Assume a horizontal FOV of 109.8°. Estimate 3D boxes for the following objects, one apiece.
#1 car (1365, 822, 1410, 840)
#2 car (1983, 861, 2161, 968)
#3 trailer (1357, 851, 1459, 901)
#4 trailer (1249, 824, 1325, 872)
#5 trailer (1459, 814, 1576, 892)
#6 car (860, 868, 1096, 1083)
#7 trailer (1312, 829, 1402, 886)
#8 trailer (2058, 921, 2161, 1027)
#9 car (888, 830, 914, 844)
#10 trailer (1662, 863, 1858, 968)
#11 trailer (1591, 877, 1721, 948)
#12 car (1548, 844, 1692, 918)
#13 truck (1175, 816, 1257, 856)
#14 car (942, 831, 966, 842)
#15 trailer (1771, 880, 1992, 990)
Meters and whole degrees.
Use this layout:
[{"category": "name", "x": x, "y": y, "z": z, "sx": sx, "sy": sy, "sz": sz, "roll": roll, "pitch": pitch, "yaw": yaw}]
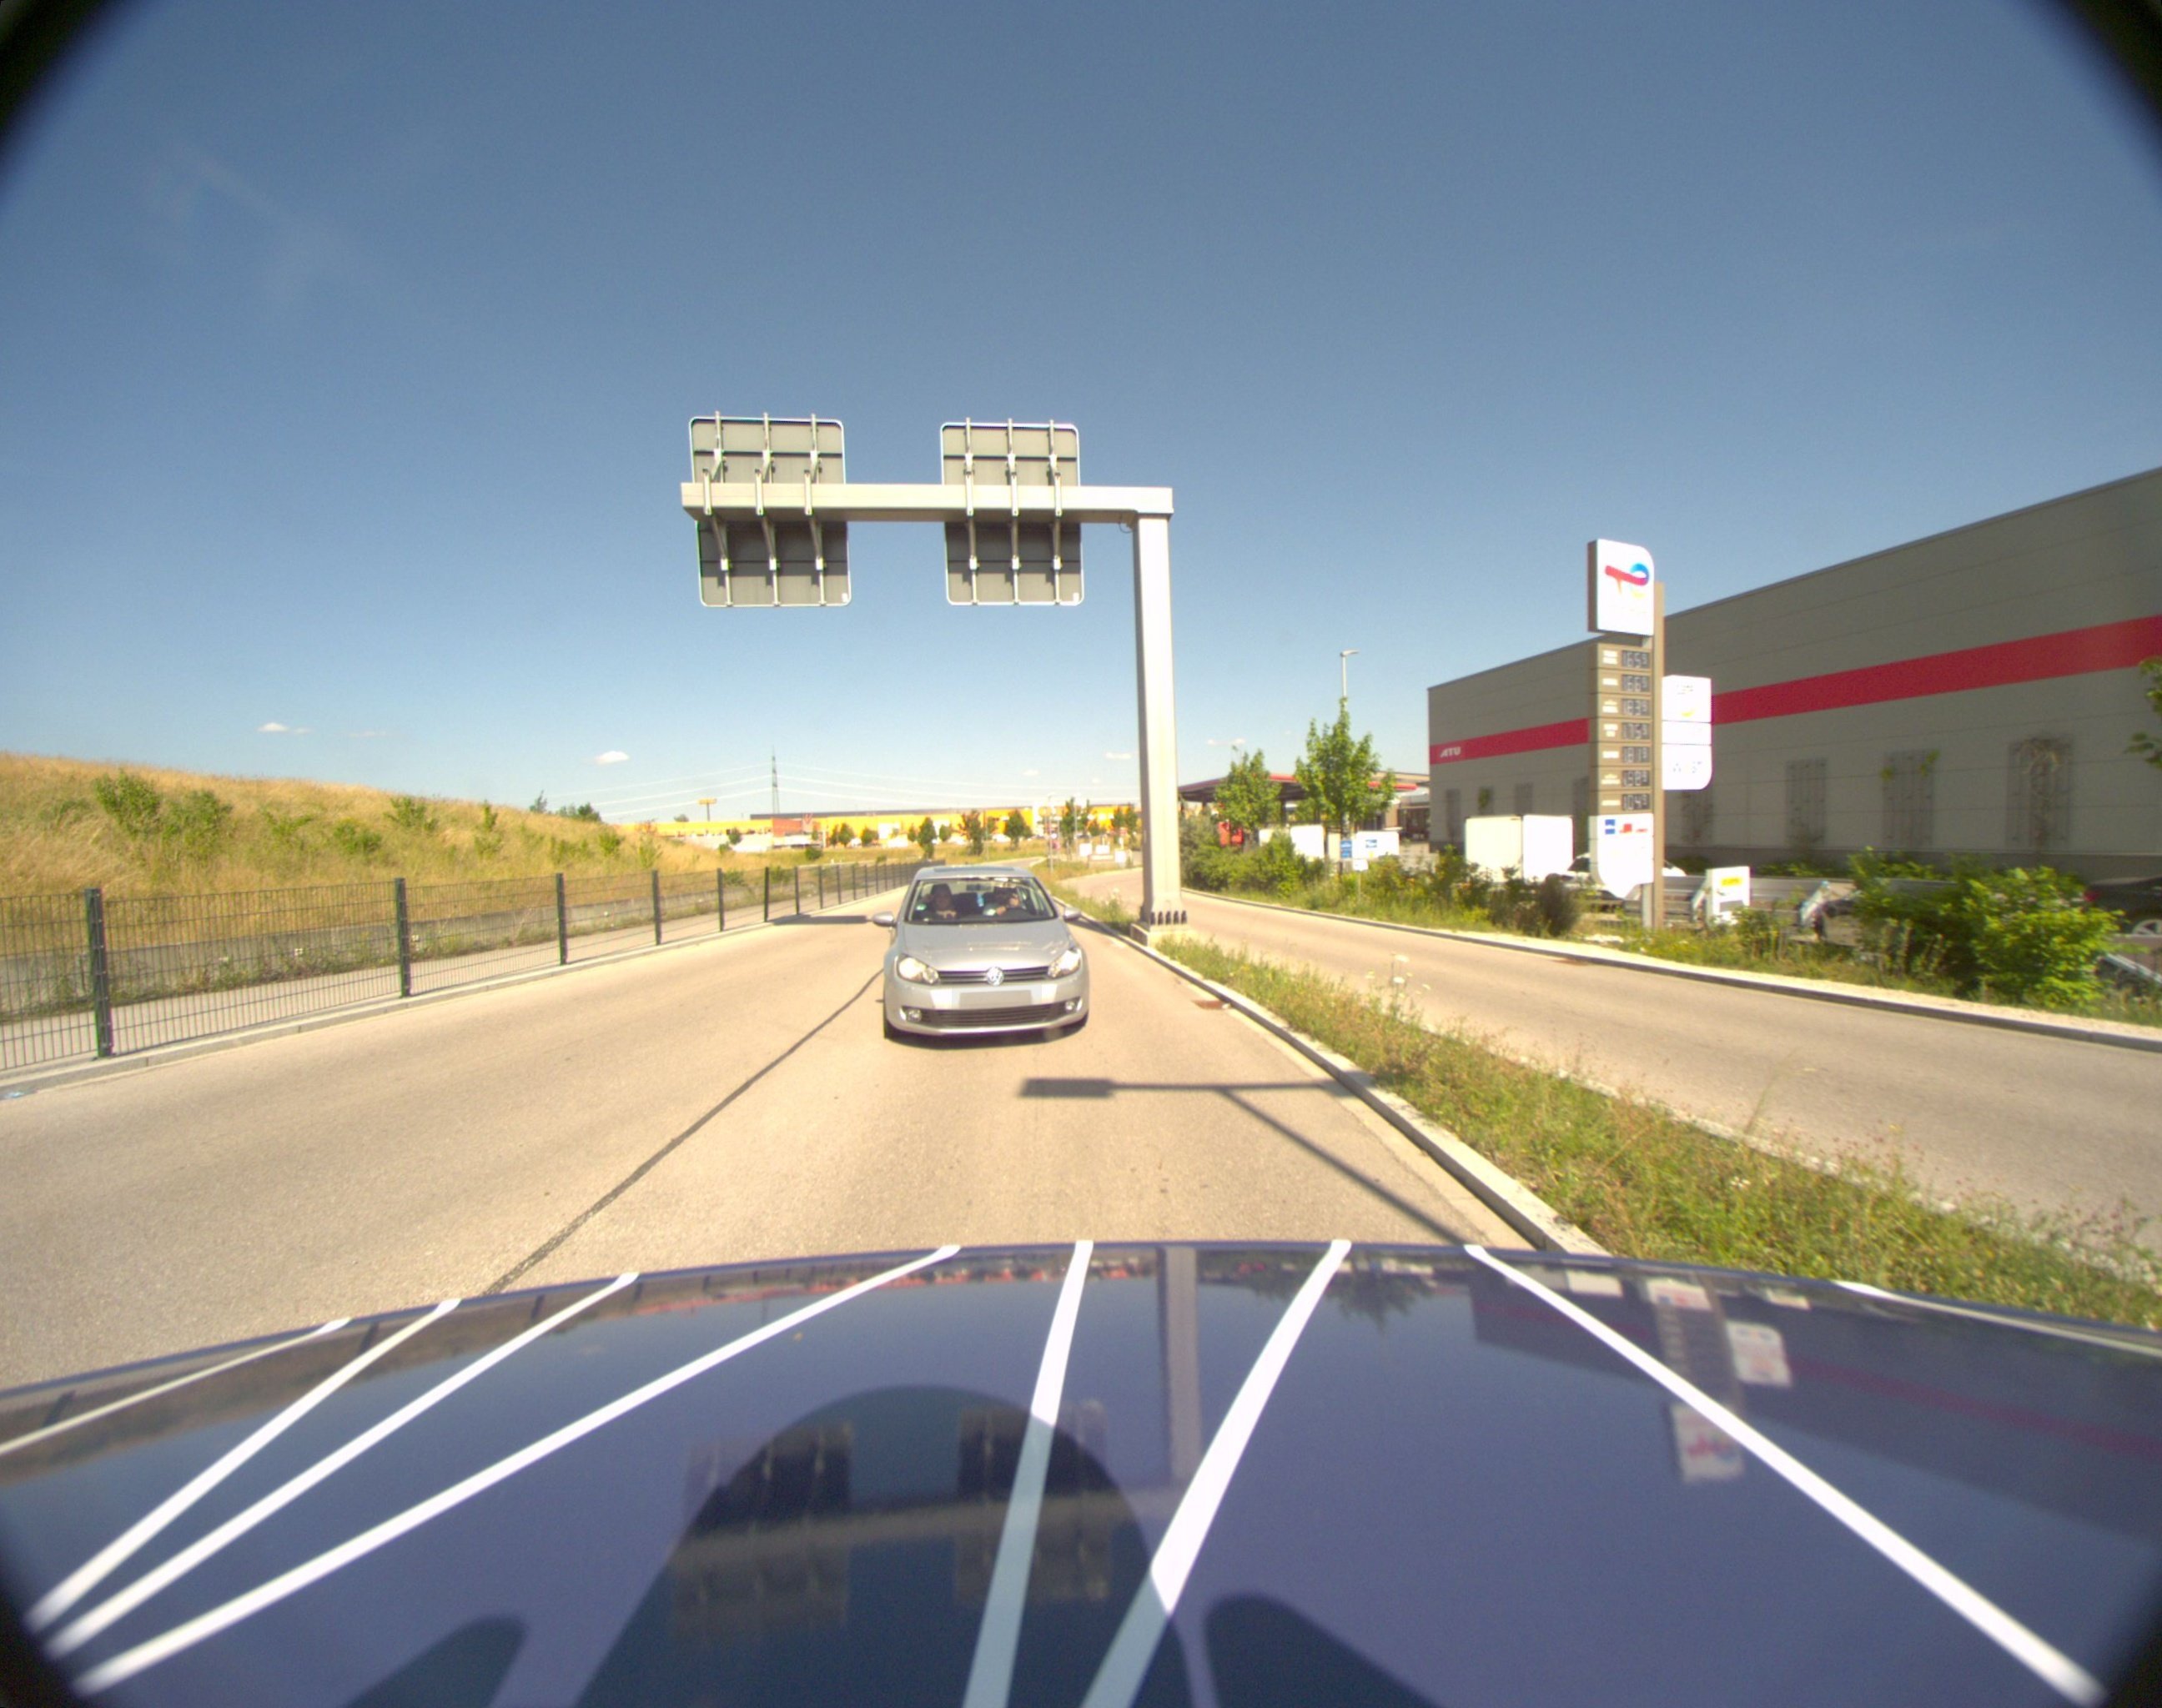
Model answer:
[{"category": "car", "x": 29.772, "y": -2.202, "z": 73.807, "sx": 3.683, "sy": 1.565, "sz": 1.695, "roll": -3, "pitch": 1, "yaw": 0}, {"category": "car", "x": 17.061, "y": 0.923, "z": 11.283, "sx": 1.803, "sy": 1.475, "sz": 4.494, "roll": -3, "pitch": 1, "yaw": -6}, {"category": "trailer", "x": 11.734, "y": 0.742, "z": 27.220, "sx": 3.605, "sy": 1.502, "sz": 1.596, "roll": -3, "pitch": 1, "yaw": -34}, {"category": "trailer", "x": 9.475, "y": -0.292, "z": 34.826, "sx": 1.994, "sy": 2.002, "sz": 3.212, "roll": -1, "pitch": 2, "yaw": 45}, {"category": "trailer", "x": 12.434, "y": -0.066, "z": 21.600, "sx": 3.245, "sy": 2.002, "sz": 1.743, "roll": -4, "pitch": 2, "yaw": -37}, {"category": "car", "x": -1.006, "y": 0.938, "z": 7.663, "sx": 1.747, "sy": 1.459, "sz": 3.957, "roll": 0, "pitch": 1, "yaw": -7}, {"category": "trailer", "x": 10.796, "y": 0.114, "z": 29.722, "sx": 2.741, "sy": 2.002, "sz": 1.995, "roll": -4, "pitch": 2, "yaw": -34}, {"category": "trailer", "x": 13.486, "y": 1.456, "z": 9.280, "sx": 2.842, "sy": 0.877, "sz": 1.861, "roll": -4, "pitch": 2, "yaw": -39}, {"category": "car", "x": -35.453, "y": -3.304, "z": 149.704, "sx": 4.637, "sy": 2.534, "sz": 1.998, "roll": -3, "pitch": 2, "yaw": -11}, {"category": "trailer", "x": 12.095, "y": 0.998, "z": 13.520, "sx": 3.195, "sy": 1.475, "sz": 1.545, "roll": -3, "pitch": 2, "yaw": -27}, {"category": "trailer", "x": 11.459, "y": 1.096, "z": 15.097, "sx": 2.780, "sy": 1.079, "sz": 1.317, "roll": -4, "pitch": 2, "yaw": -37}, {"category": "car", "x": 13.656, "y": 0.605, "z": 19.182, "sx": 4.006, "sy": 1.527, "sz": 1.714, "roll": -3, "pitch": 2, "yaw": -36}, {"category": "truck", "x": 12.397, "y": -1.678, "z": 69.963, "sx": 6.911, "sy": 3.299, "sz": 2.637, "roll": -3, "pitch": 2, "yaw": -19}, {"category": "car", "x": -25.307, "y": -3.419, "z": 151.191, "sx": 4.637, "sy": 2.002, "sz": 1.998, "roll": -3, "pitch": 2, "yaw": -11}, {"category": "trailer", "x": 12.400, "y": 1.167, "z": 11.782, "sx": 2.915, "sy": 1.314, "sz": 1.387, "roll": -3, "pitch": 2, "yaw": -22}]
